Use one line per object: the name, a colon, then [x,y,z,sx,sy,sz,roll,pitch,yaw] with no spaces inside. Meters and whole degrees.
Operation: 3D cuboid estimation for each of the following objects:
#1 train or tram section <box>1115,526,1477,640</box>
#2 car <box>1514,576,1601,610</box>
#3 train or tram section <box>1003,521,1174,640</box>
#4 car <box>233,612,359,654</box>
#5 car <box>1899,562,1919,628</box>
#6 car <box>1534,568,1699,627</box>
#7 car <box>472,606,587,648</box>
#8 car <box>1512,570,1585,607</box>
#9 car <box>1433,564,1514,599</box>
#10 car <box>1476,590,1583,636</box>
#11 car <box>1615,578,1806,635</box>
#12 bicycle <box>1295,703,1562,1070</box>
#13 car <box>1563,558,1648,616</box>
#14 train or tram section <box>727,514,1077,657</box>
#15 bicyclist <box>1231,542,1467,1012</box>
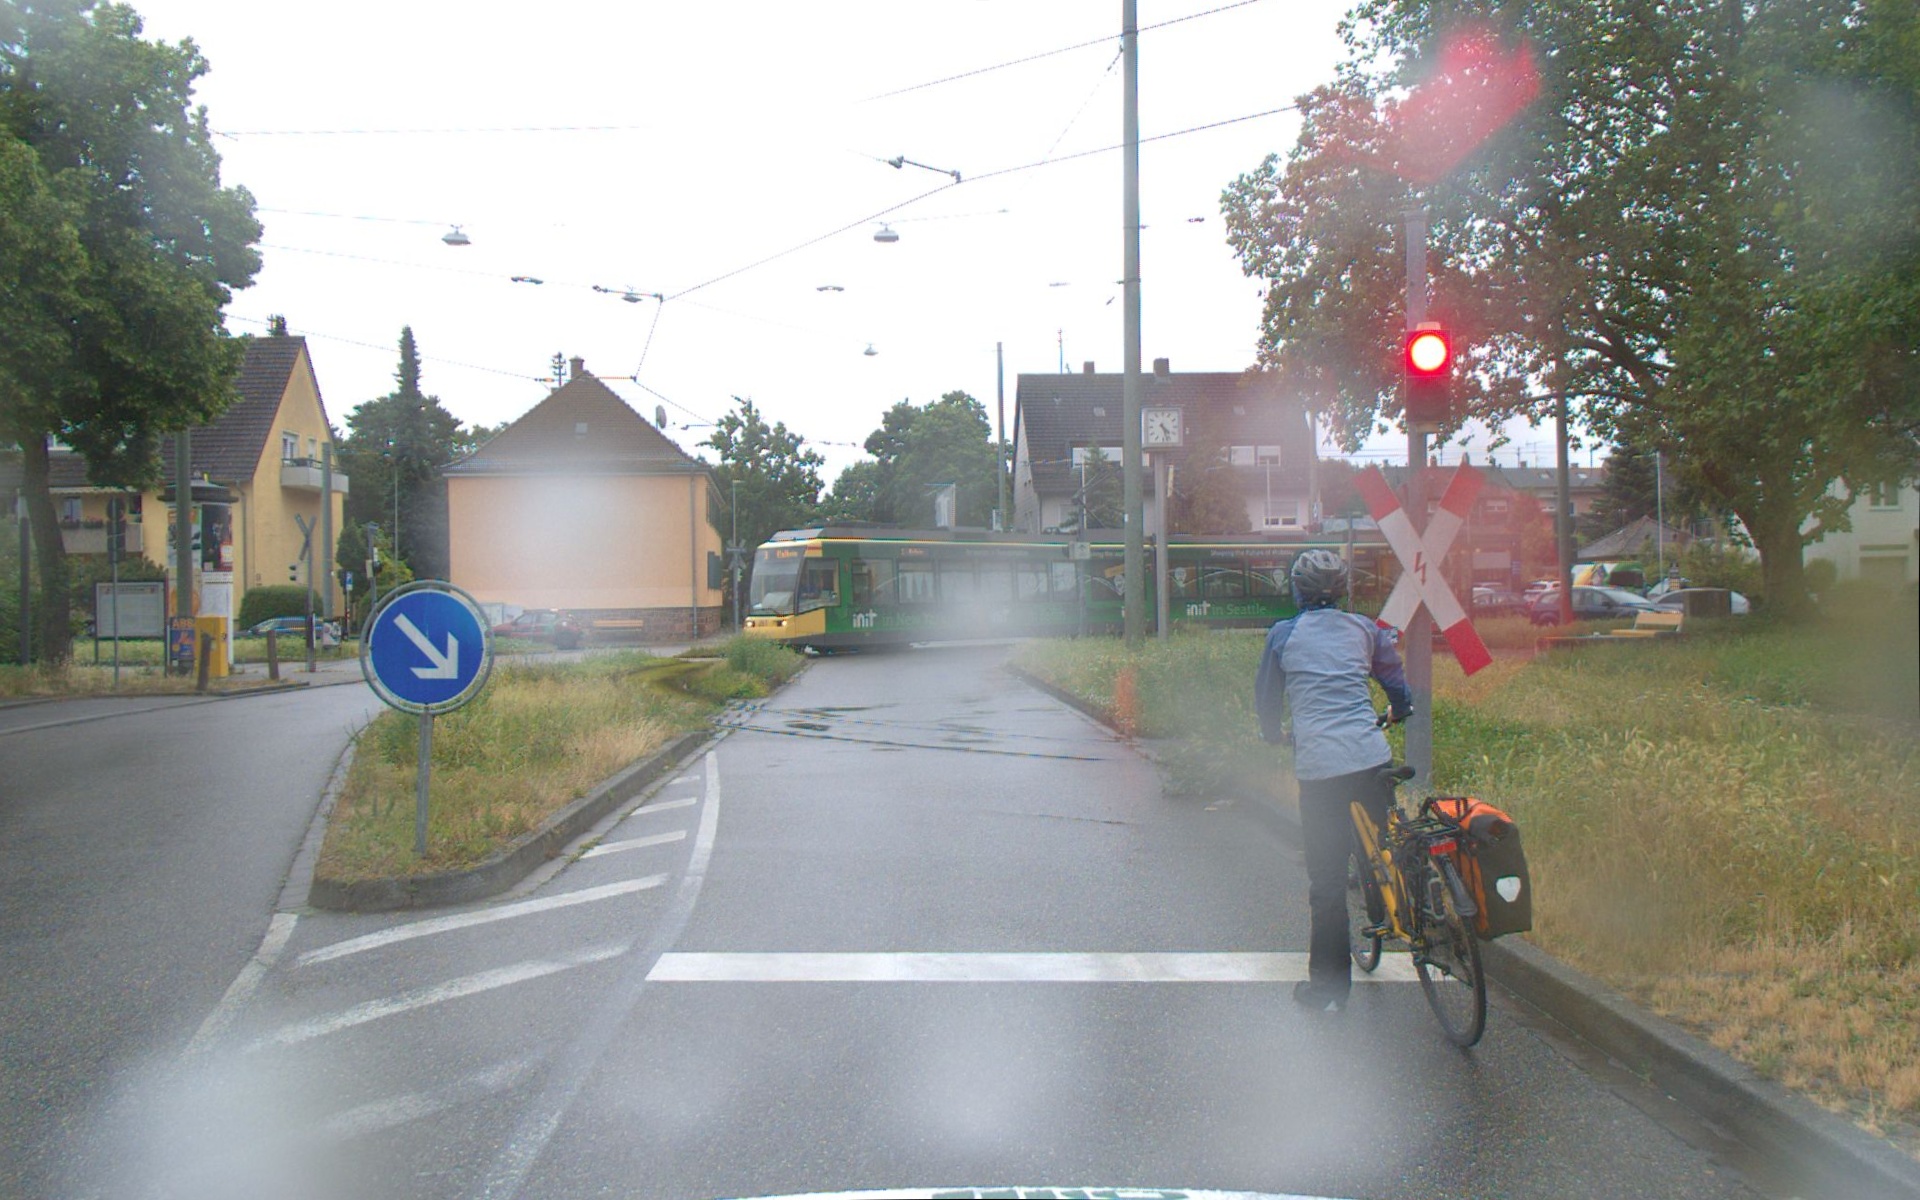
train or tram section: [11.706,-0.502,56.997,12.907,3.615,2.751,1,0,-22]
car: [31.070,-0.358,86.071,3.905,1.668,1.846,1,0,-1]
train or tram section: [4.162,-0.589,53.230,4.935,3.615,2.733,1,0,-37]
car: [-24.437,1.203,60.958,3.911,1.482,1.831,1,0,-7]
car: [28.142,-0.111,45.526,3.703,1.829,1.798,1,-1,43]
car: [18.020,-0.071,45.496,3.848,1.522,1.798,1,-1,43]
car: [-16.181,1.020,62.329,3.911,1.482,1.831,1,0,-7]
car: [34.241,-0.640,96.292,1.963,2.049,3.978,1,0,-19]
car: [28.560,-1.018,92.063,3.904,1.822,2.000,1,0,2]
car: [22.614,0.509,65.740,3.609,1.731,1.890,1,0,0]
car: [18.472,0.153,40.859,3.902,1.308,1.847,1,0,6]
bicycle: [1.652,0.956,6.075,0.437,1.022,1.727,-1,1,-2]
car: [28.830,-0.565,74.024,1.953,2.485,4.352,1,0,-2]
train or tram section: [-1.263,-0.492,47.316,2.718,3.615,12.143,1,2,39]
bicyclist: [1.448,0.629,6.282,0.653,1.654,0.852,1,-1,-2]
